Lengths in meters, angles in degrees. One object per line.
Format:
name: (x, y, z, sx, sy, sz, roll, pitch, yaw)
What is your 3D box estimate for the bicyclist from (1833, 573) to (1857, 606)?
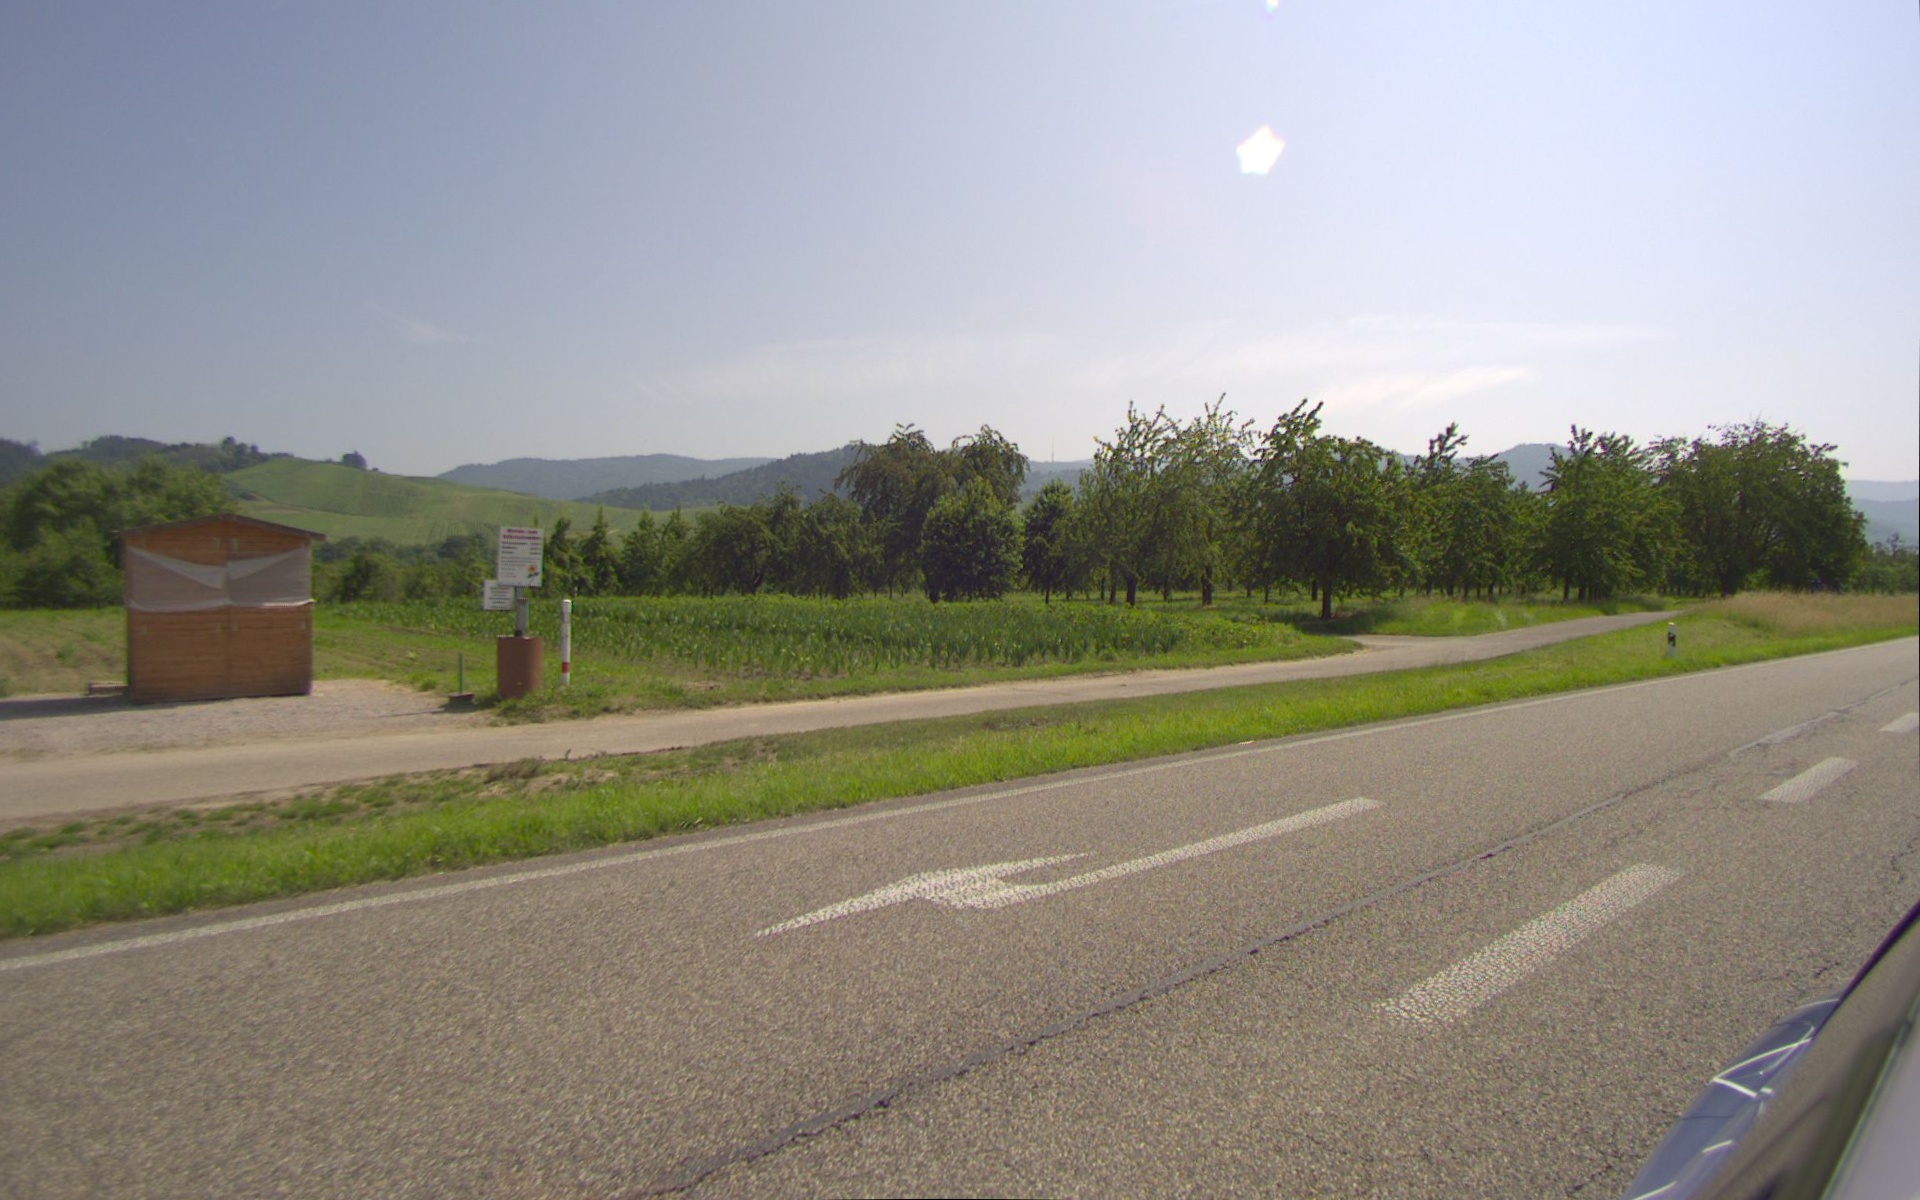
bicyclist: (51.951, -0.635, 59.390, 0.851, 1.889, 0.753, 1, 2, -29)

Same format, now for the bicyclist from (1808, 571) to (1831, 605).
bicyclist: (51.129, -0.712, 60.201, 0.811, 1.953, 0.753, 1, 2, -29)

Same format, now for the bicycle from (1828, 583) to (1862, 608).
bicycle: (51.954, -0.261, 59.405, 2.176, 1.435, 0.753, 0, 2, -30)

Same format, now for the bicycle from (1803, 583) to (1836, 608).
bicycle: (51.126, -0.288, 60.210, 2.176, 1.435, 0.753, 0, 2, -30)
